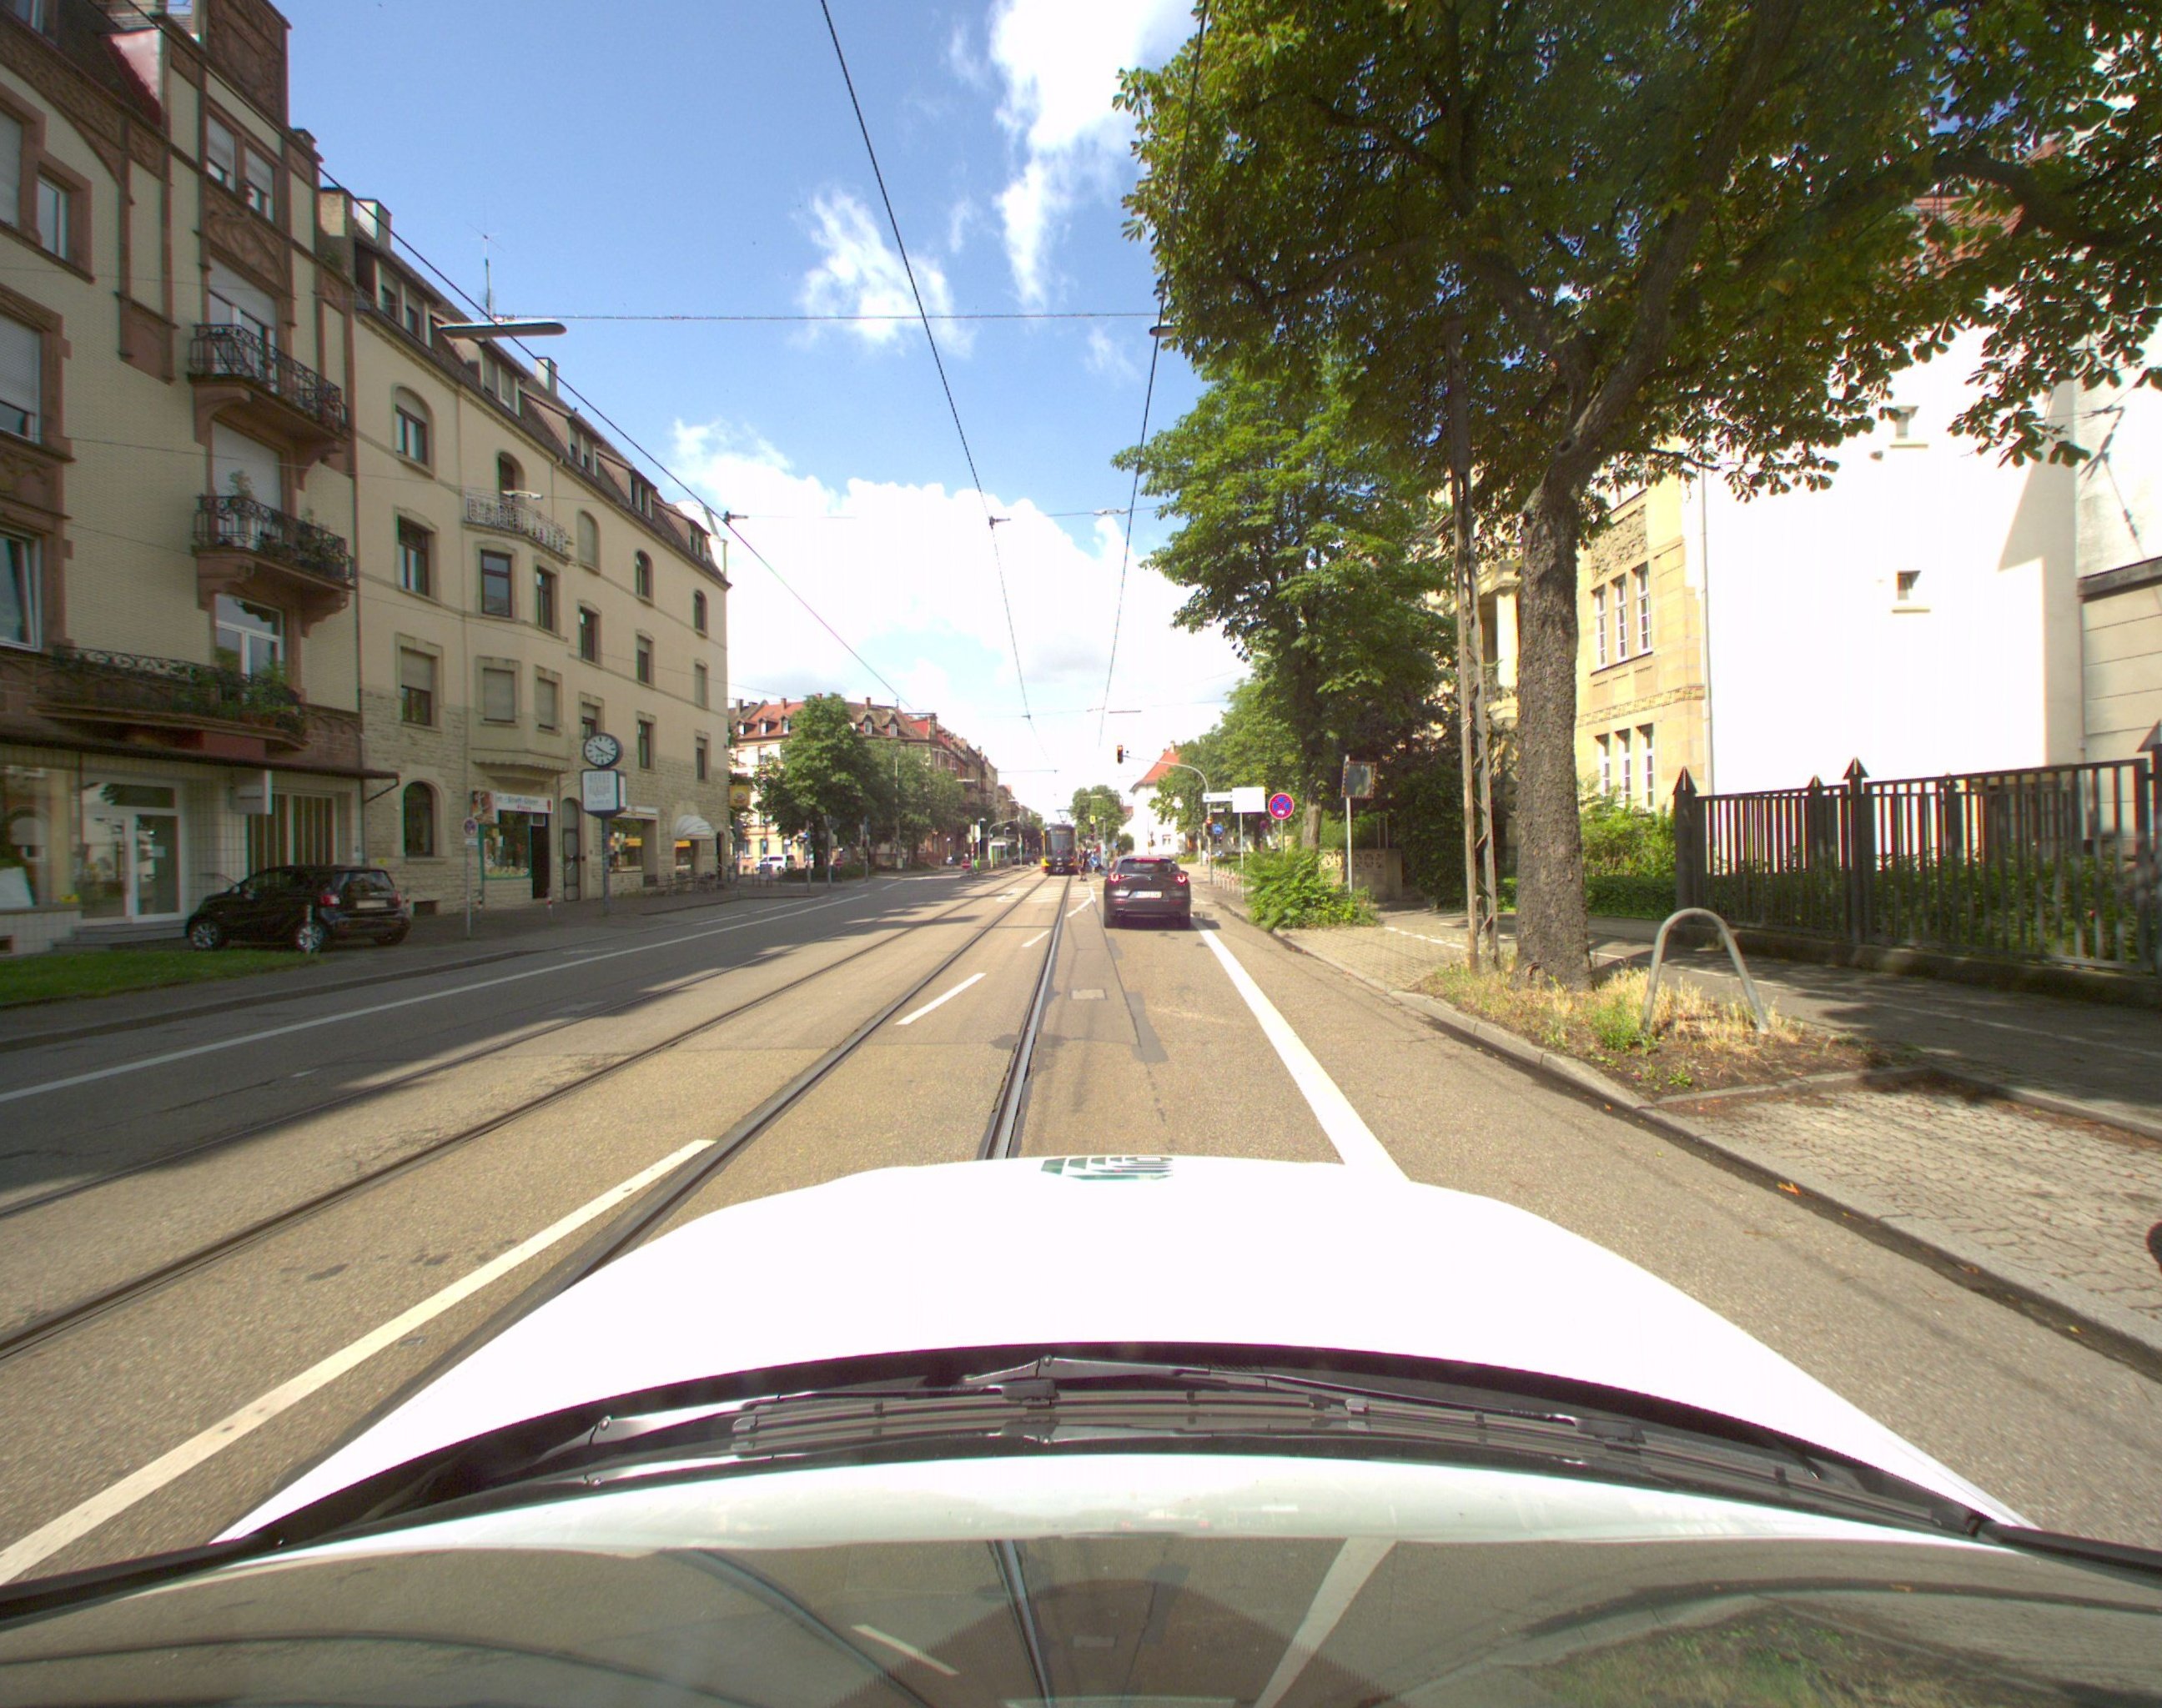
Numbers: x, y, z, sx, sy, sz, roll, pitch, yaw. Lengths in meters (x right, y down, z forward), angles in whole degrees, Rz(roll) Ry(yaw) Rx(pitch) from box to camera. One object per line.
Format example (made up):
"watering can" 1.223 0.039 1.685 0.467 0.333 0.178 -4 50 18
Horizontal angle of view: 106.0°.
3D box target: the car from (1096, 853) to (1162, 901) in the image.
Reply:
"car" 1.594 0.742 28.749 1.781 1.492 4.878 -2 0 -3

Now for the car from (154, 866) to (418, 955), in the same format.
"car" -14.526 0.987 15.007 3.223 1.513 1.680 0 0 2

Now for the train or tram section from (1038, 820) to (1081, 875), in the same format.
"train or tram section" -1.634 -0.384 57.883 2.646 3.527 8.485 -2 0 -3

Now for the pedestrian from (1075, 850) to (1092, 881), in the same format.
"pedestrian" 0.132 0.577 42.956 0.873 1.605 0.631 -1 0 -3

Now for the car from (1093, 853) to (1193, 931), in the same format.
"car" 1.258 0.739 18.213 1.784 1.512 4.348 0 0 -2

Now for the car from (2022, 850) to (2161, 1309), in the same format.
"car" 4.367 0.719 1.126 1.619 1.496 3.846 -3 0 -1

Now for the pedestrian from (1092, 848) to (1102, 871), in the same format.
"pedestrian" 1.151 0.414 58.288 0.666 1.605 0.699 -1 0 -2

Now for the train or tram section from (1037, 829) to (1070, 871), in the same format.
"train or tram section" -2.630 -0.289 74.854 2.646 3.527 8.485 -2 0 -3

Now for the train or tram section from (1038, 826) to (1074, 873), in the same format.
"train or tram section" -2.135 -0.330 66.393 2.646 3.527 8.485 -2 0 -3

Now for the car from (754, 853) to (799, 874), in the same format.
"car" -34.045 1.019 91.192 4.095 2.013 2.005 -5 0 9
